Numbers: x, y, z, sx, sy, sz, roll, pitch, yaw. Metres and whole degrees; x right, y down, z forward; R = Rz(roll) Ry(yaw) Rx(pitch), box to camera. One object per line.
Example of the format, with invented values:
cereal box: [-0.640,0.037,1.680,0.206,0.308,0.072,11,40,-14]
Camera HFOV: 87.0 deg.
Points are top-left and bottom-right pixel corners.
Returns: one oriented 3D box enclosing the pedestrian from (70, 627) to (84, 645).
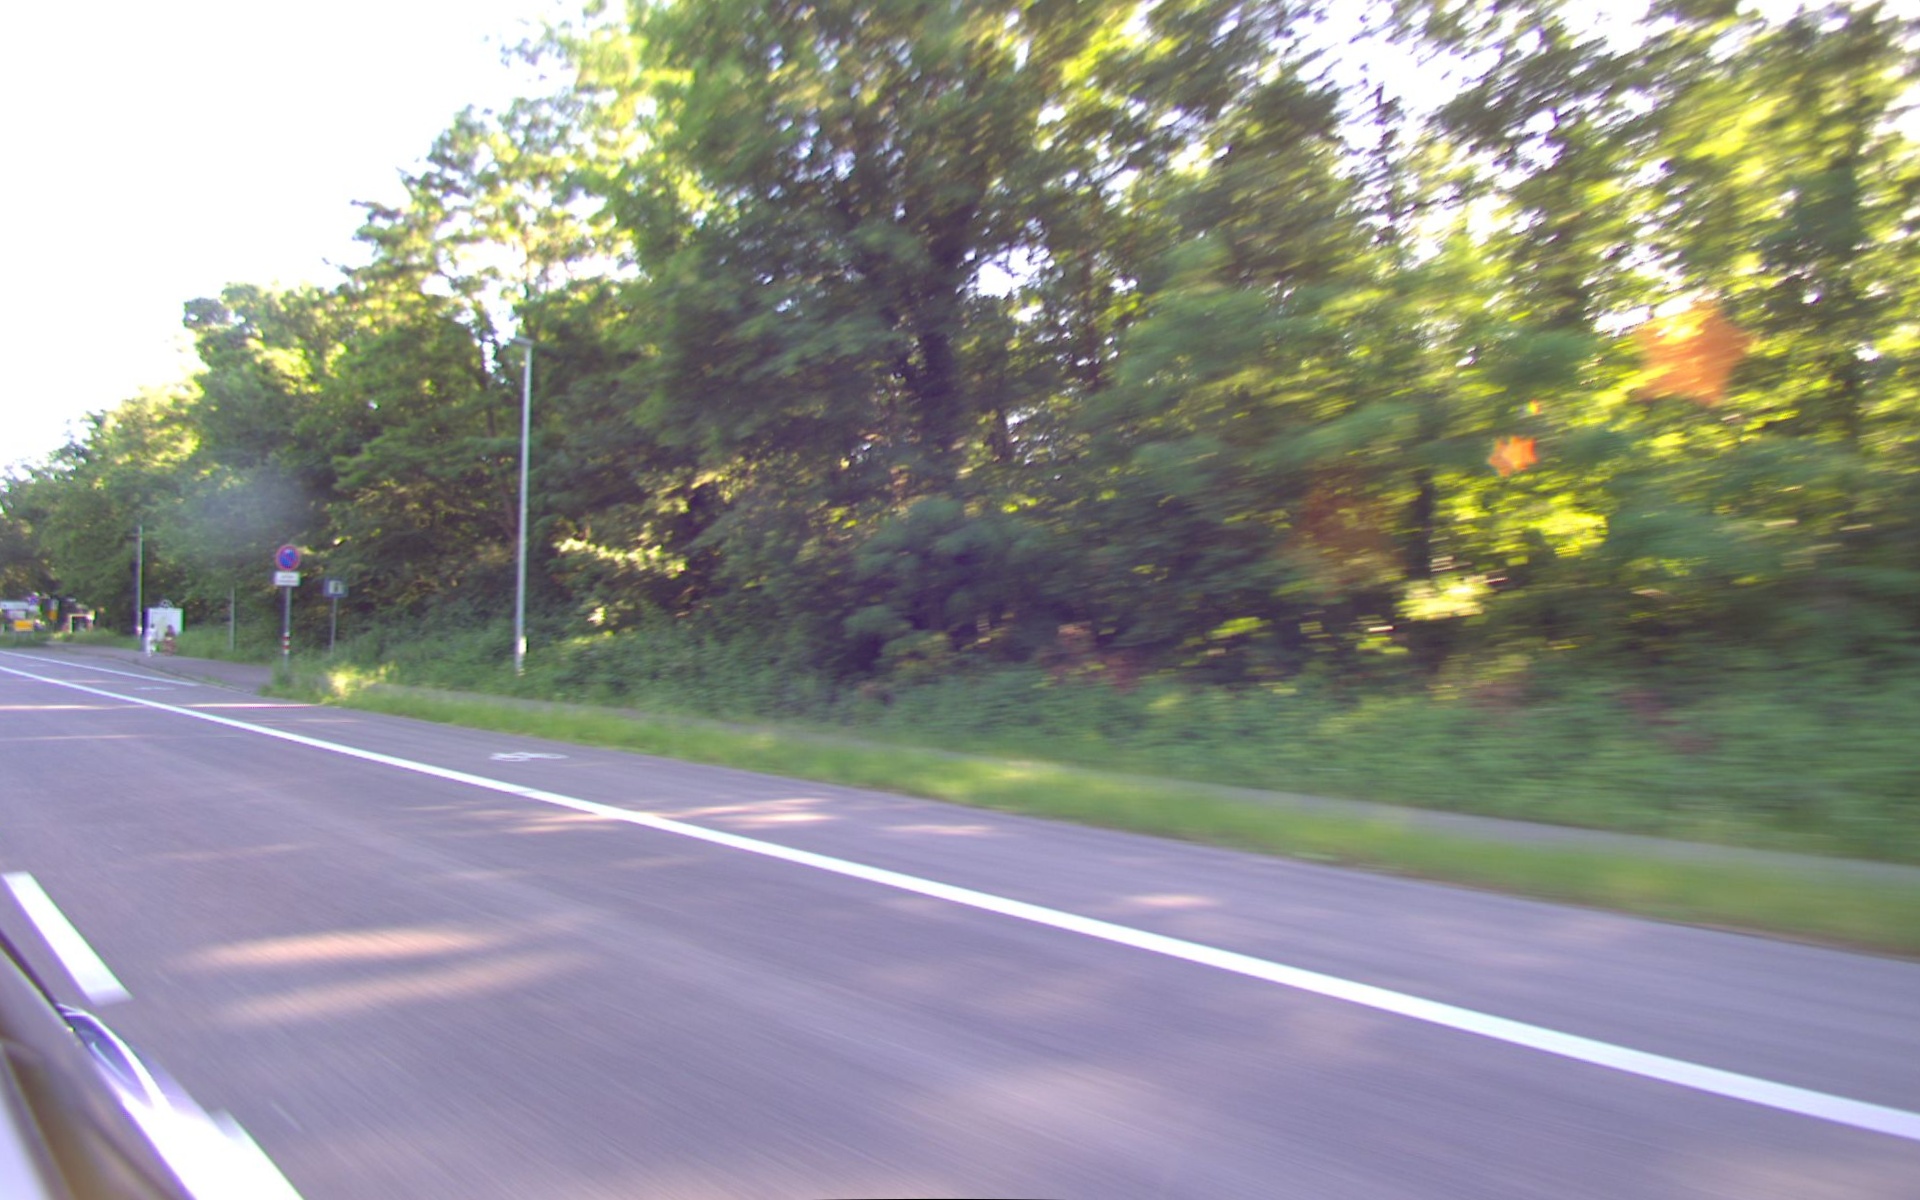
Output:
pedestrian: [-90.113,3.668,103.270,0.820,1.833,0.739,1,-2,-20]

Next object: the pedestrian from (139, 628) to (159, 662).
pedestrian: [-40.792,2.247,50.887,0.667,1.666,0.790,2,-3,-45]

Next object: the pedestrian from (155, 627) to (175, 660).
pedestrian: [-40.434,2.198,51.485,0.667,1.666,0.790,2,-3,-45]

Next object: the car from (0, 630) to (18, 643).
car: [-123.319,4.667,130.937,3.612,1.653,1.735,-1,-3,42]
